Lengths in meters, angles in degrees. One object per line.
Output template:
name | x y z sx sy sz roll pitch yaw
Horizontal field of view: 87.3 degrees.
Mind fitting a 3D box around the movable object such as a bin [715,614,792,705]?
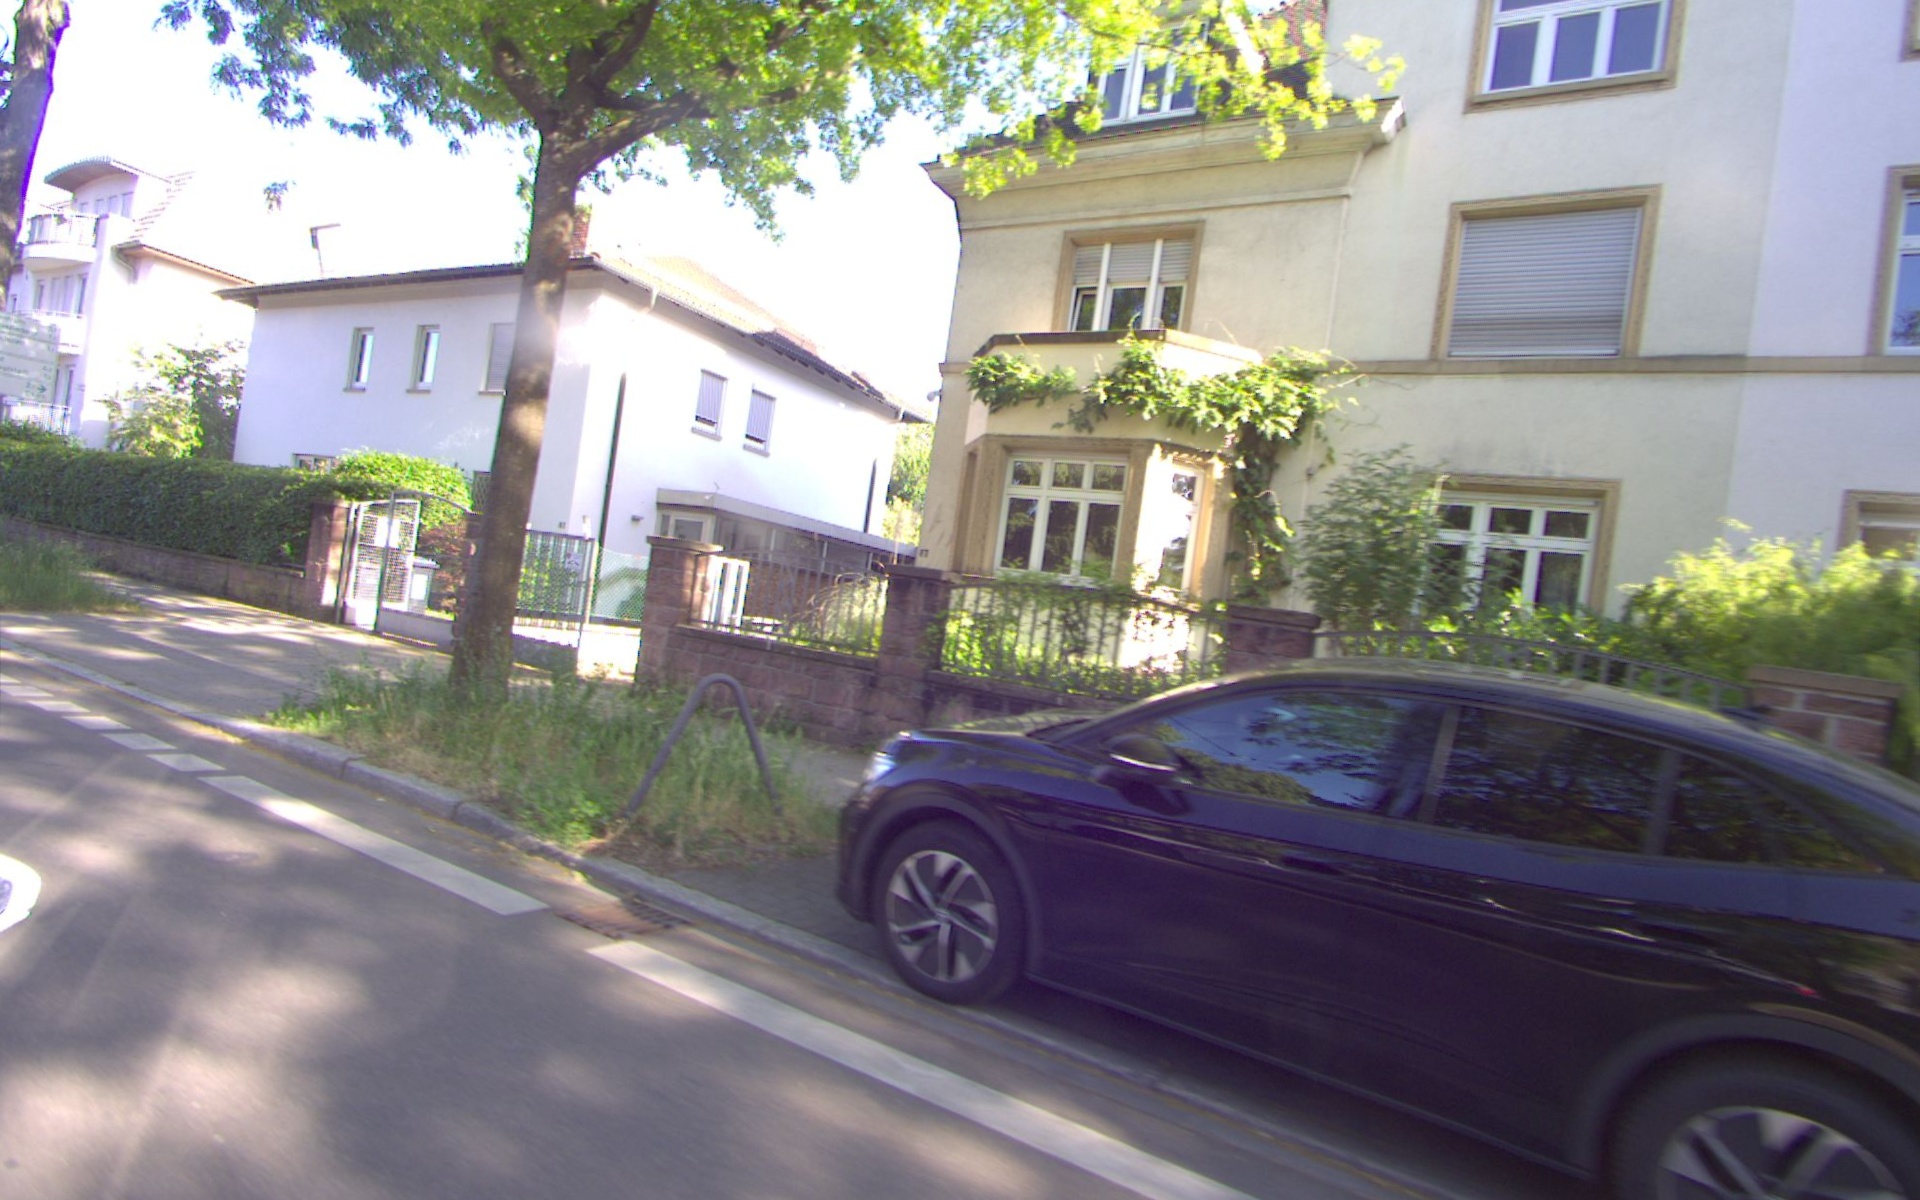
movable object such as a bin | -2.708 0.775 13.186 0.652 1.060 0.641 9 -1 -37

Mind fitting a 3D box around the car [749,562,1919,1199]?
car | 1.551 0.970 4.010 4.651 1.716 1.804 7 2 33
